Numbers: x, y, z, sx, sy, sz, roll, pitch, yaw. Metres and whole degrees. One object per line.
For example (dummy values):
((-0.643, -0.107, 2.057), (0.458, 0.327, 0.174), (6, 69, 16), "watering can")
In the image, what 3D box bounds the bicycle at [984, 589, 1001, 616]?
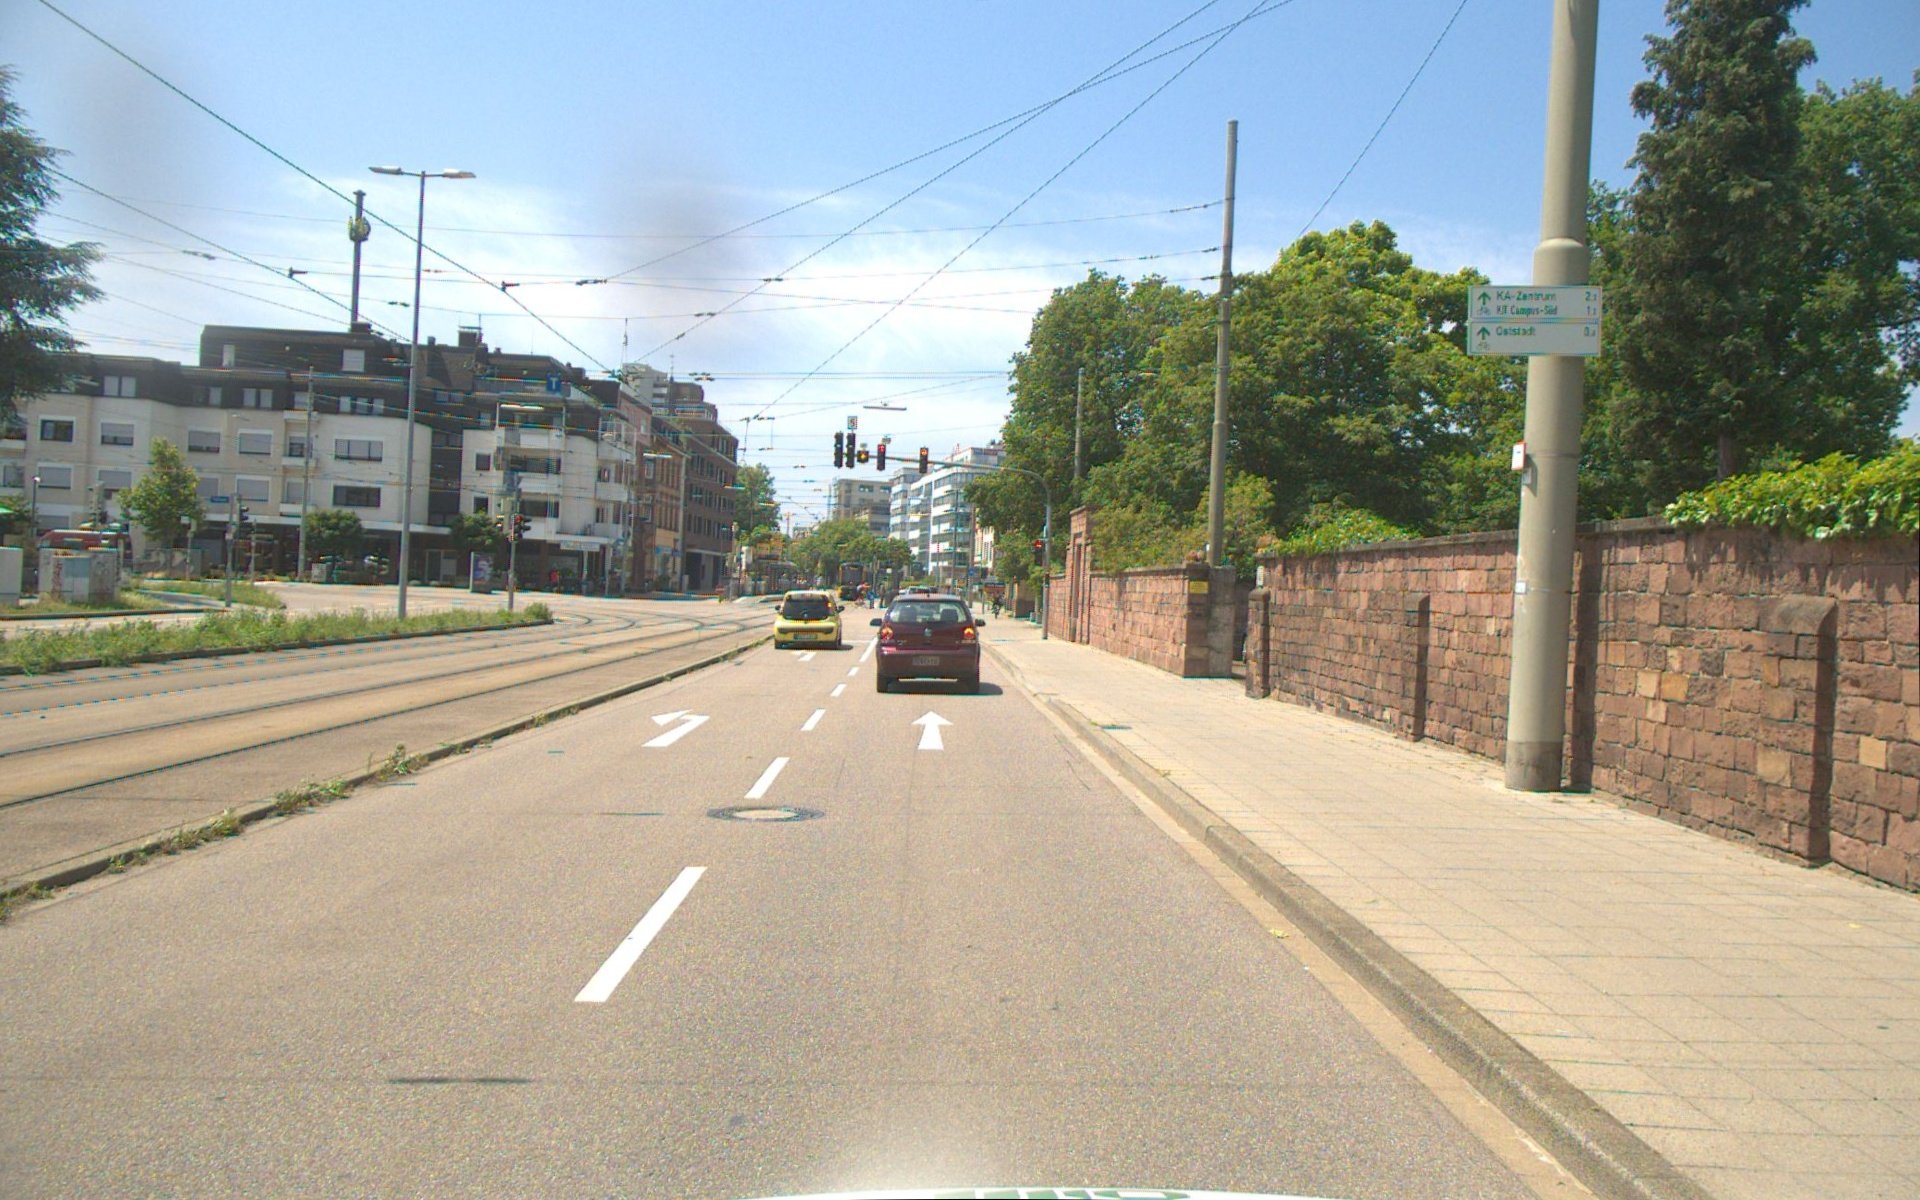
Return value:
((1.917, 0.152, 98.198), (0.818, 1.552, 3.999), (1, 0, -1), "bicycle")

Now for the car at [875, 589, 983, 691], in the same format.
((-0.517, 0.573, 26.383), (1.577, 1.489, 4.084), (0, 0, -2), "car")

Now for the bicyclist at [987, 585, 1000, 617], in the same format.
((1.970, 0.046, 97.084), (0.707, 1.850, 0.888), (1, -1, -1), "bicyclist")

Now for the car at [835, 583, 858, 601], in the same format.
((-10.584, -0.728, 154.255), (1.899, 1.670, 3.998), (1, 0, -2), "car")

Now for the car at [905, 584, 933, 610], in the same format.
((-2.348, -0.183, 94.478), (1.541, 1.440, 3.719), (0, 0, -2), "car")

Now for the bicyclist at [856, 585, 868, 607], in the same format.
((-6.418, -0.273, 107.959), (0.751, 1.430, 0.506), (1, -1, -5), "bicyclist")

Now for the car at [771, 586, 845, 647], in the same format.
((-3.861, 0.397, 42.443), (1.689, 1.470, 3.291), (1, 1, -2), "car")

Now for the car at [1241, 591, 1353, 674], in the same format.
((6.782, 0.625, 33.506), (1.451, 1.508, 2.943), (3, 0, -4), "car")

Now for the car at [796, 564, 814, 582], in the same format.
((-17.953, -3.125, 191.366), (1.700, 2.048, 3.999), (2, 0, -1), "car")

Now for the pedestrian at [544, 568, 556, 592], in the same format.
((-26.328, -1.283, 106.207), (0.474, 1.568, 0.538), (1, -1, 24), "pedestrian")

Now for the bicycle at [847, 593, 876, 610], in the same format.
((-6.447, 0.096, 107.914), (1.829, 1.025, 0.578), (1, -1, -6), "bicycle")

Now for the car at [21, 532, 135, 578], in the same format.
((-48.170, -2.440, 90.439), (4.963, 2.382, 2.243), (1, -1, -3), "car")
